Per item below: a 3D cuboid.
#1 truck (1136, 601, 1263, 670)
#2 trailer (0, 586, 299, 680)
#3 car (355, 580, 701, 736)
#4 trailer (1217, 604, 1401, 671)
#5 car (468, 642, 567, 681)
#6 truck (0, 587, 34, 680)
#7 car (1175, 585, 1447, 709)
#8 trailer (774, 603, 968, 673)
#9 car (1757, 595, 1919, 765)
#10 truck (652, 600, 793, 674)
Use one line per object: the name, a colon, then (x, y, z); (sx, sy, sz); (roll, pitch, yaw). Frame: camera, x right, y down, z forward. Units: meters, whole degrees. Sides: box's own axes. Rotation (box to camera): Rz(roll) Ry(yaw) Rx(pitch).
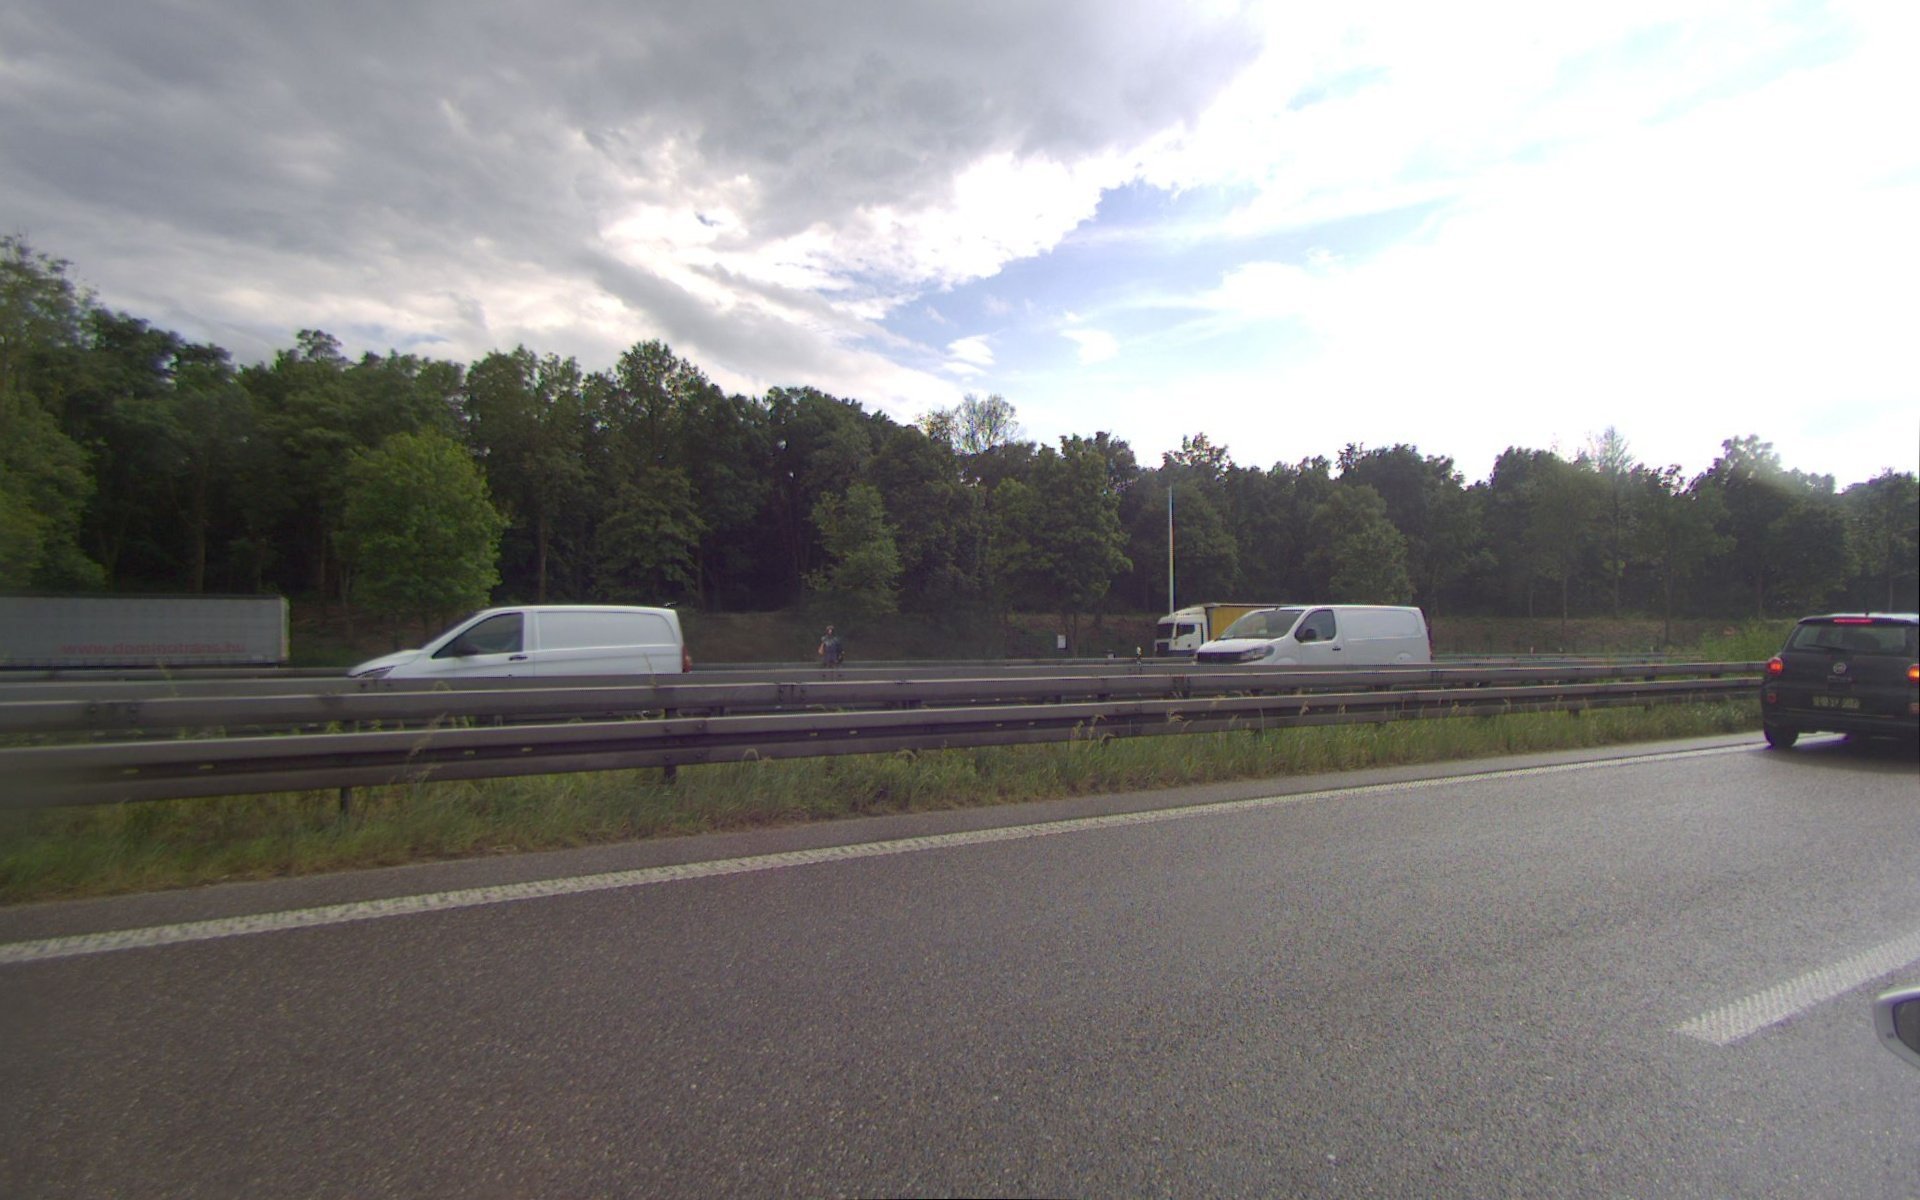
truck: (15.334, 2.248, 64.461); (6.933, 4.171, 3.786); (2, 0, -17)
trailer: (-35.978, 1.378, 42.359); (13.187, 3.697, 3.771); (1, -2, -30)
car: (-6.584, 0.825, 15.465); (4.599, 2.073, 2.163); (2, 0, -31)
trailer: (23.252, 2.494, 66.933); (11.538, 4.171, 3.786); (2, 0, -17)
car: (-21.667, 3.005, 49.210); (4.313, 1.741, 2.050); (2, 0, -28)
truck: (-41.527, 1.210, 39.127); (7.269, 3.637, 3.769); (2, 0, -30)
car: (6.713, 0.847, 19.020); (5.150, 2.073, 2.041); (2, 0, -31)
trailer: (-5.008, 2.151, 56.861); (10.350, 3.697, 3.780); (1, -1, -24)
car: (11.733, 0.917, 12.435); (3.931, 1.828, 1.683); (2, 0, -32)
truck: (-12.635, 1.954, 53.360); (6.615, 3.709, 3.776); (2, 0, -25)
